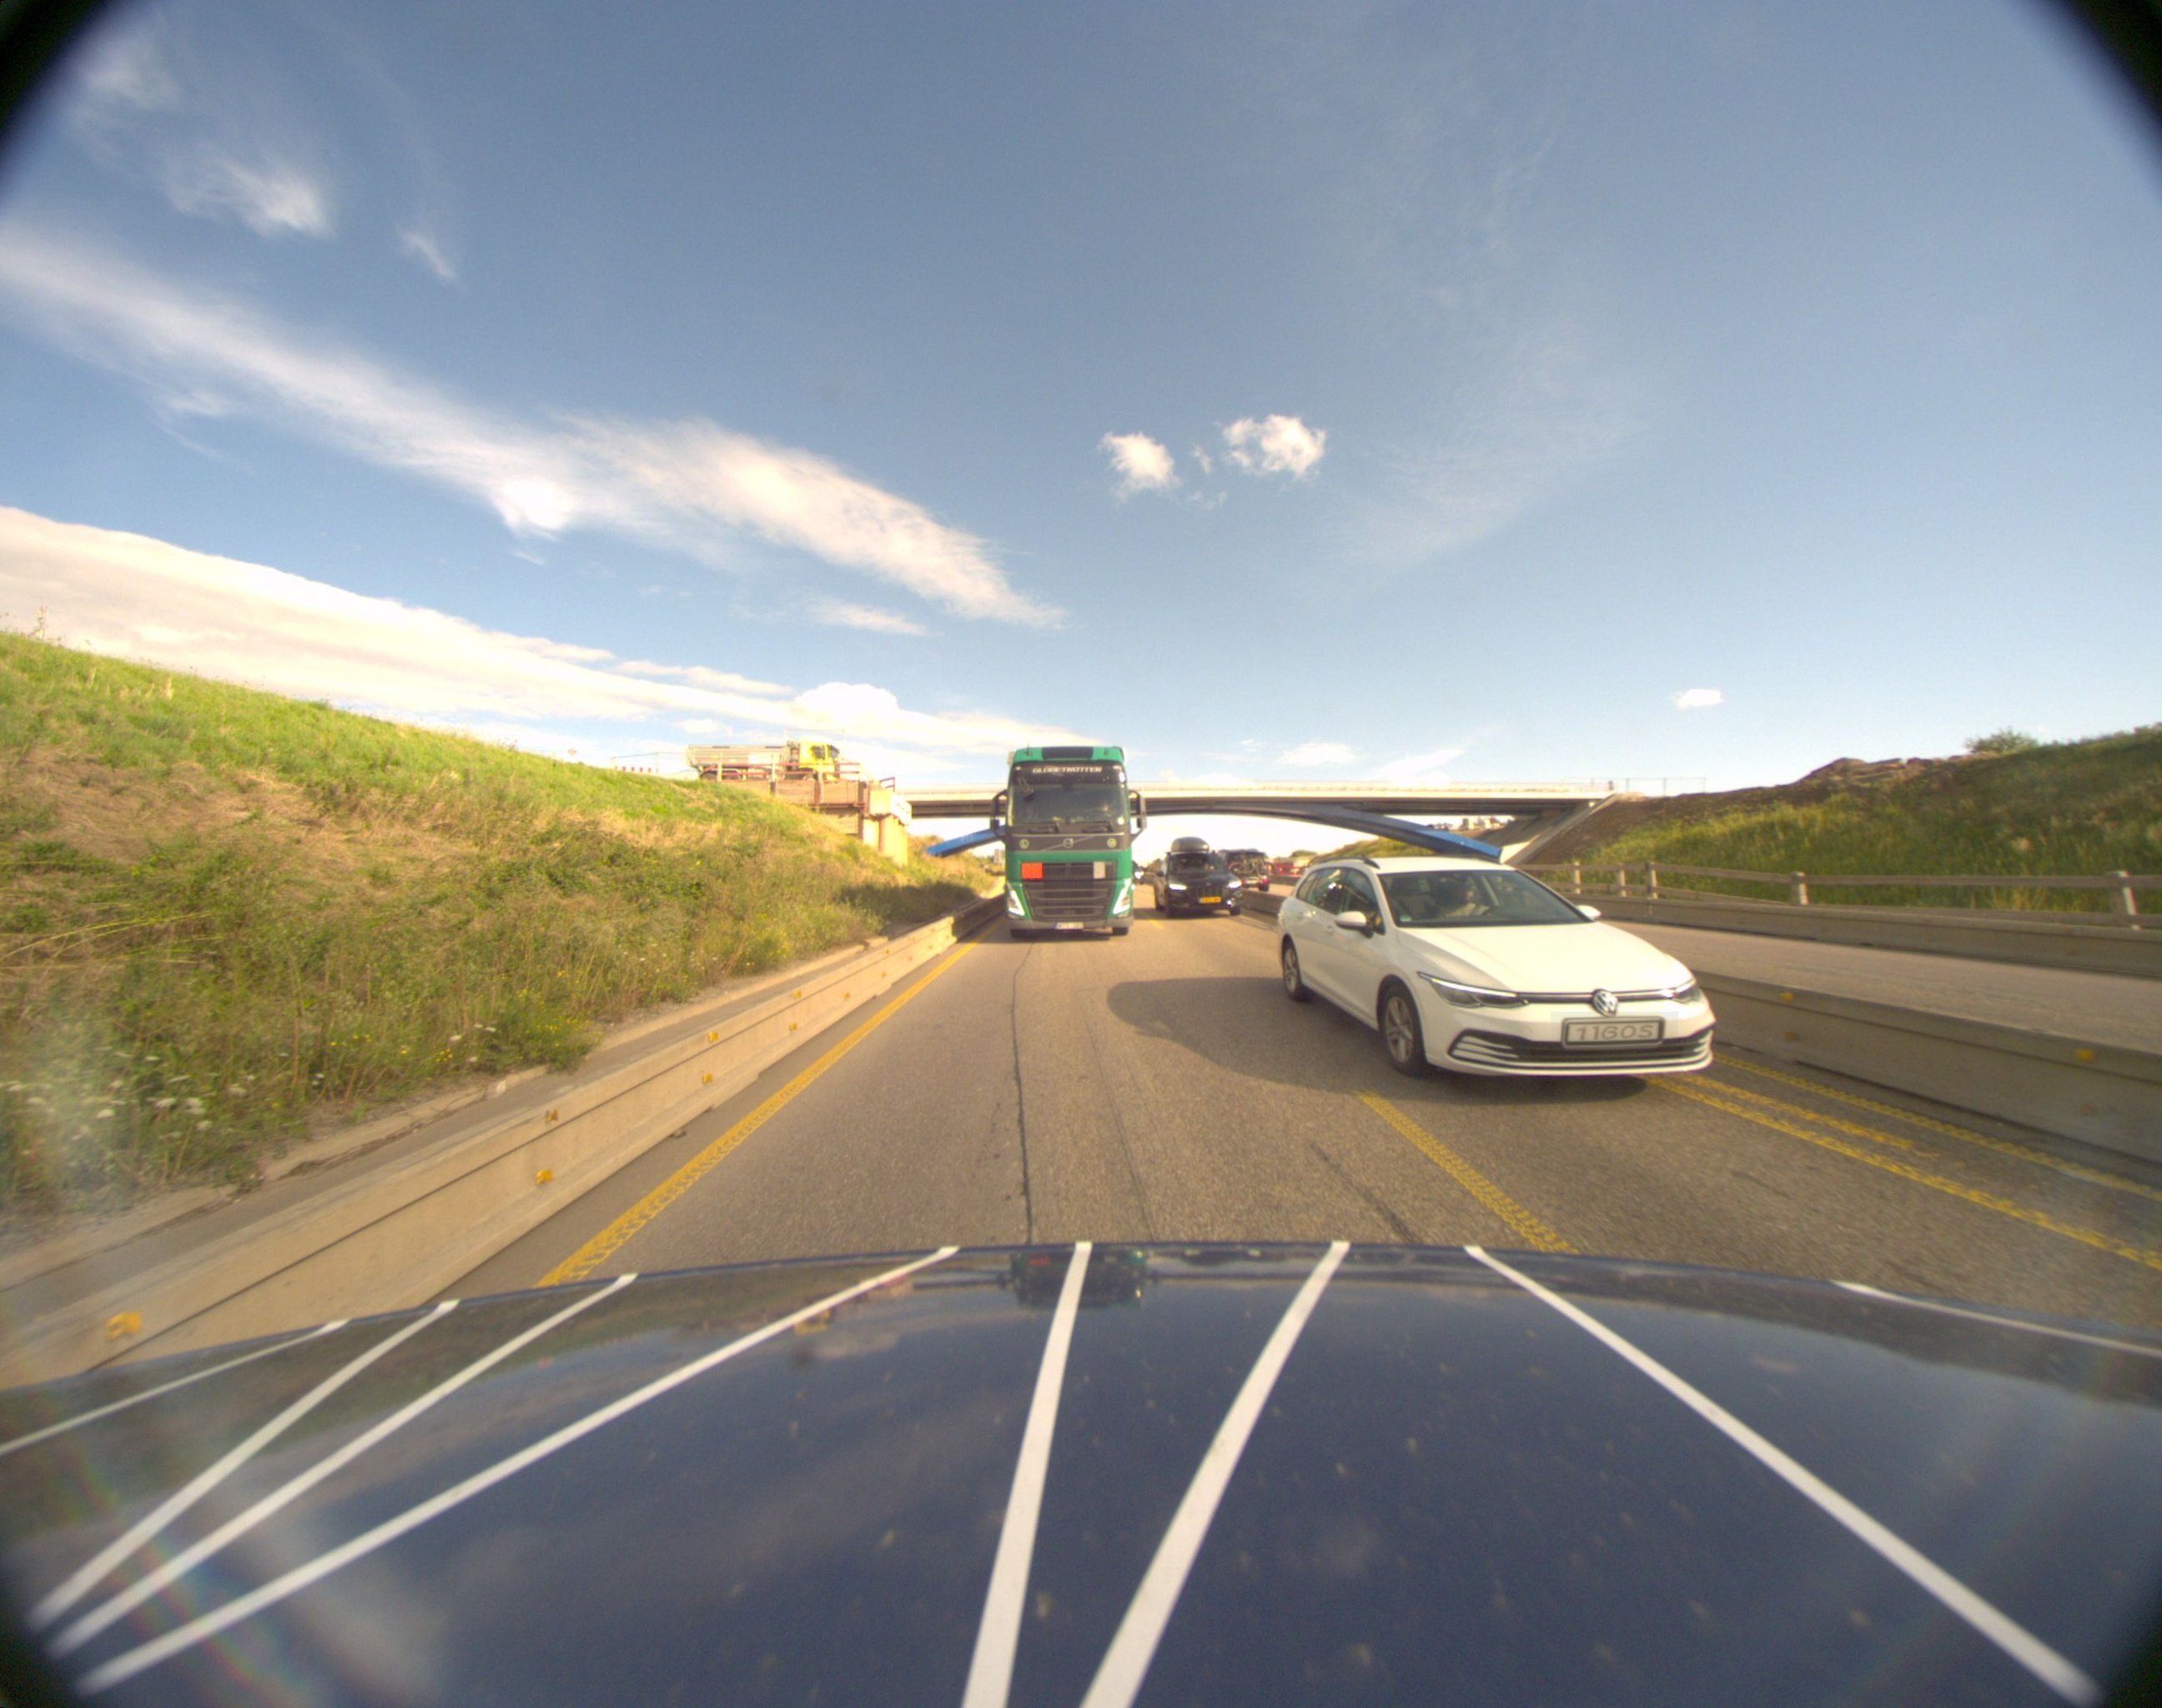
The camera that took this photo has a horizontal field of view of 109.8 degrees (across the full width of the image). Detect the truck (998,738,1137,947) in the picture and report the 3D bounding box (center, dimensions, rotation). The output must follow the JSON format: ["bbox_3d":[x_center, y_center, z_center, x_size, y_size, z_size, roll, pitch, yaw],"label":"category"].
[{"bbox_3d":[-0.281,-0.209,18.585,2.546,3.899,8.279,-2,0,0],"label":"truck"}]

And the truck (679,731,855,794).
[{"bbox_3d":[-18.759,-5.487,45.892,9.289,3.209,2.959,-2,0,-3],"label":"truck"}]

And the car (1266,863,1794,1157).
[{"bbox_3d":[2.987,0.880,6.343,1.825,1.487,4.374,-2,0,1],"label":"car"}]

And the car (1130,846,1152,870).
[{"bbox_3d":[7.472,0.471,94.627,2.115,2.819,6.137,1,0,-1],"label":"car"}]

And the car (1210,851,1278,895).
[{"bbox_3d":[6.413,0.707,30.273,1.825,1.594,4.000,-2,0,1],"label":"car"}]

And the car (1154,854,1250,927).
[{"bbox_3d":[3.070,0.864,20.080,1.855,1.667,4.260,-2,0,1],"label":"car"}]

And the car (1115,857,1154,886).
[{"bbox_3d":[2.963,0.936,43.161,1.855,1.488,4.300,-1,0,0],"label":"car"}]
